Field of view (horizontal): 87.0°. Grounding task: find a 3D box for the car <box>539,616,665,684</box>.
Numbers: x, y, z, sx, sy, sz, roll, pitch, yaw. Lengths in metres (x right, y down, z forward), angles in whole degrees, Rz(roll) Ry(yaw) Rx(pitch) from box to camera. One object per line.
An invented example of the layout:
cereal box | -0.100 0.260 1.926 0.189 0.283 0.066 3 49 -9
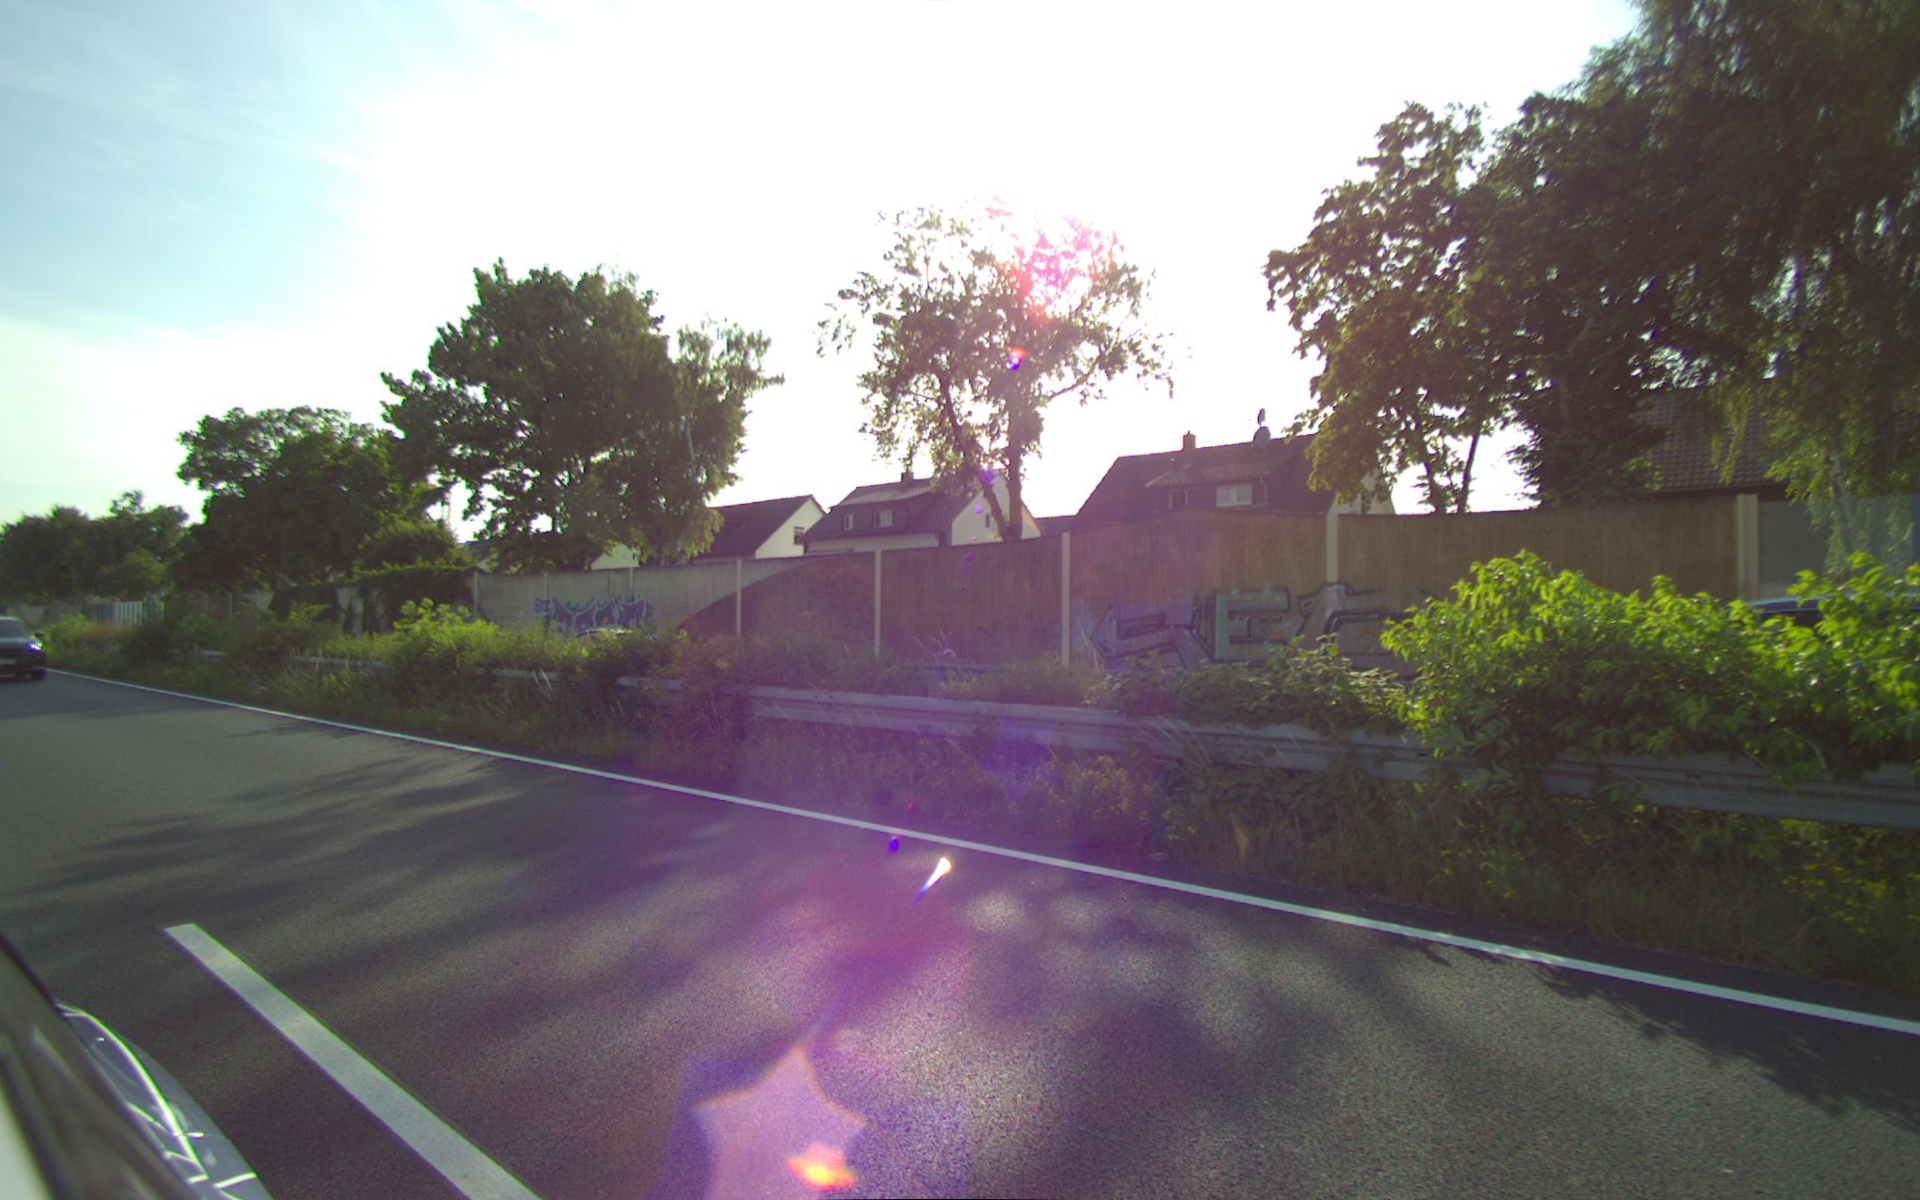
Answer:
car | -9.695 1.288 27.334 3.333 1.674 1.788 -1 0 41

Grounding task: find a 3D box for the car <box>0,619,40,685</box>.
car | -24.575 1.279 25.356 4.245 1.536 1.798 -1 0 42

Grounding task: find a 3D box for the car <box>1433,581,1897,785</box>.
car | 6.028 0.604 8.879 3.145 1.473 1.402 -1 0 41
